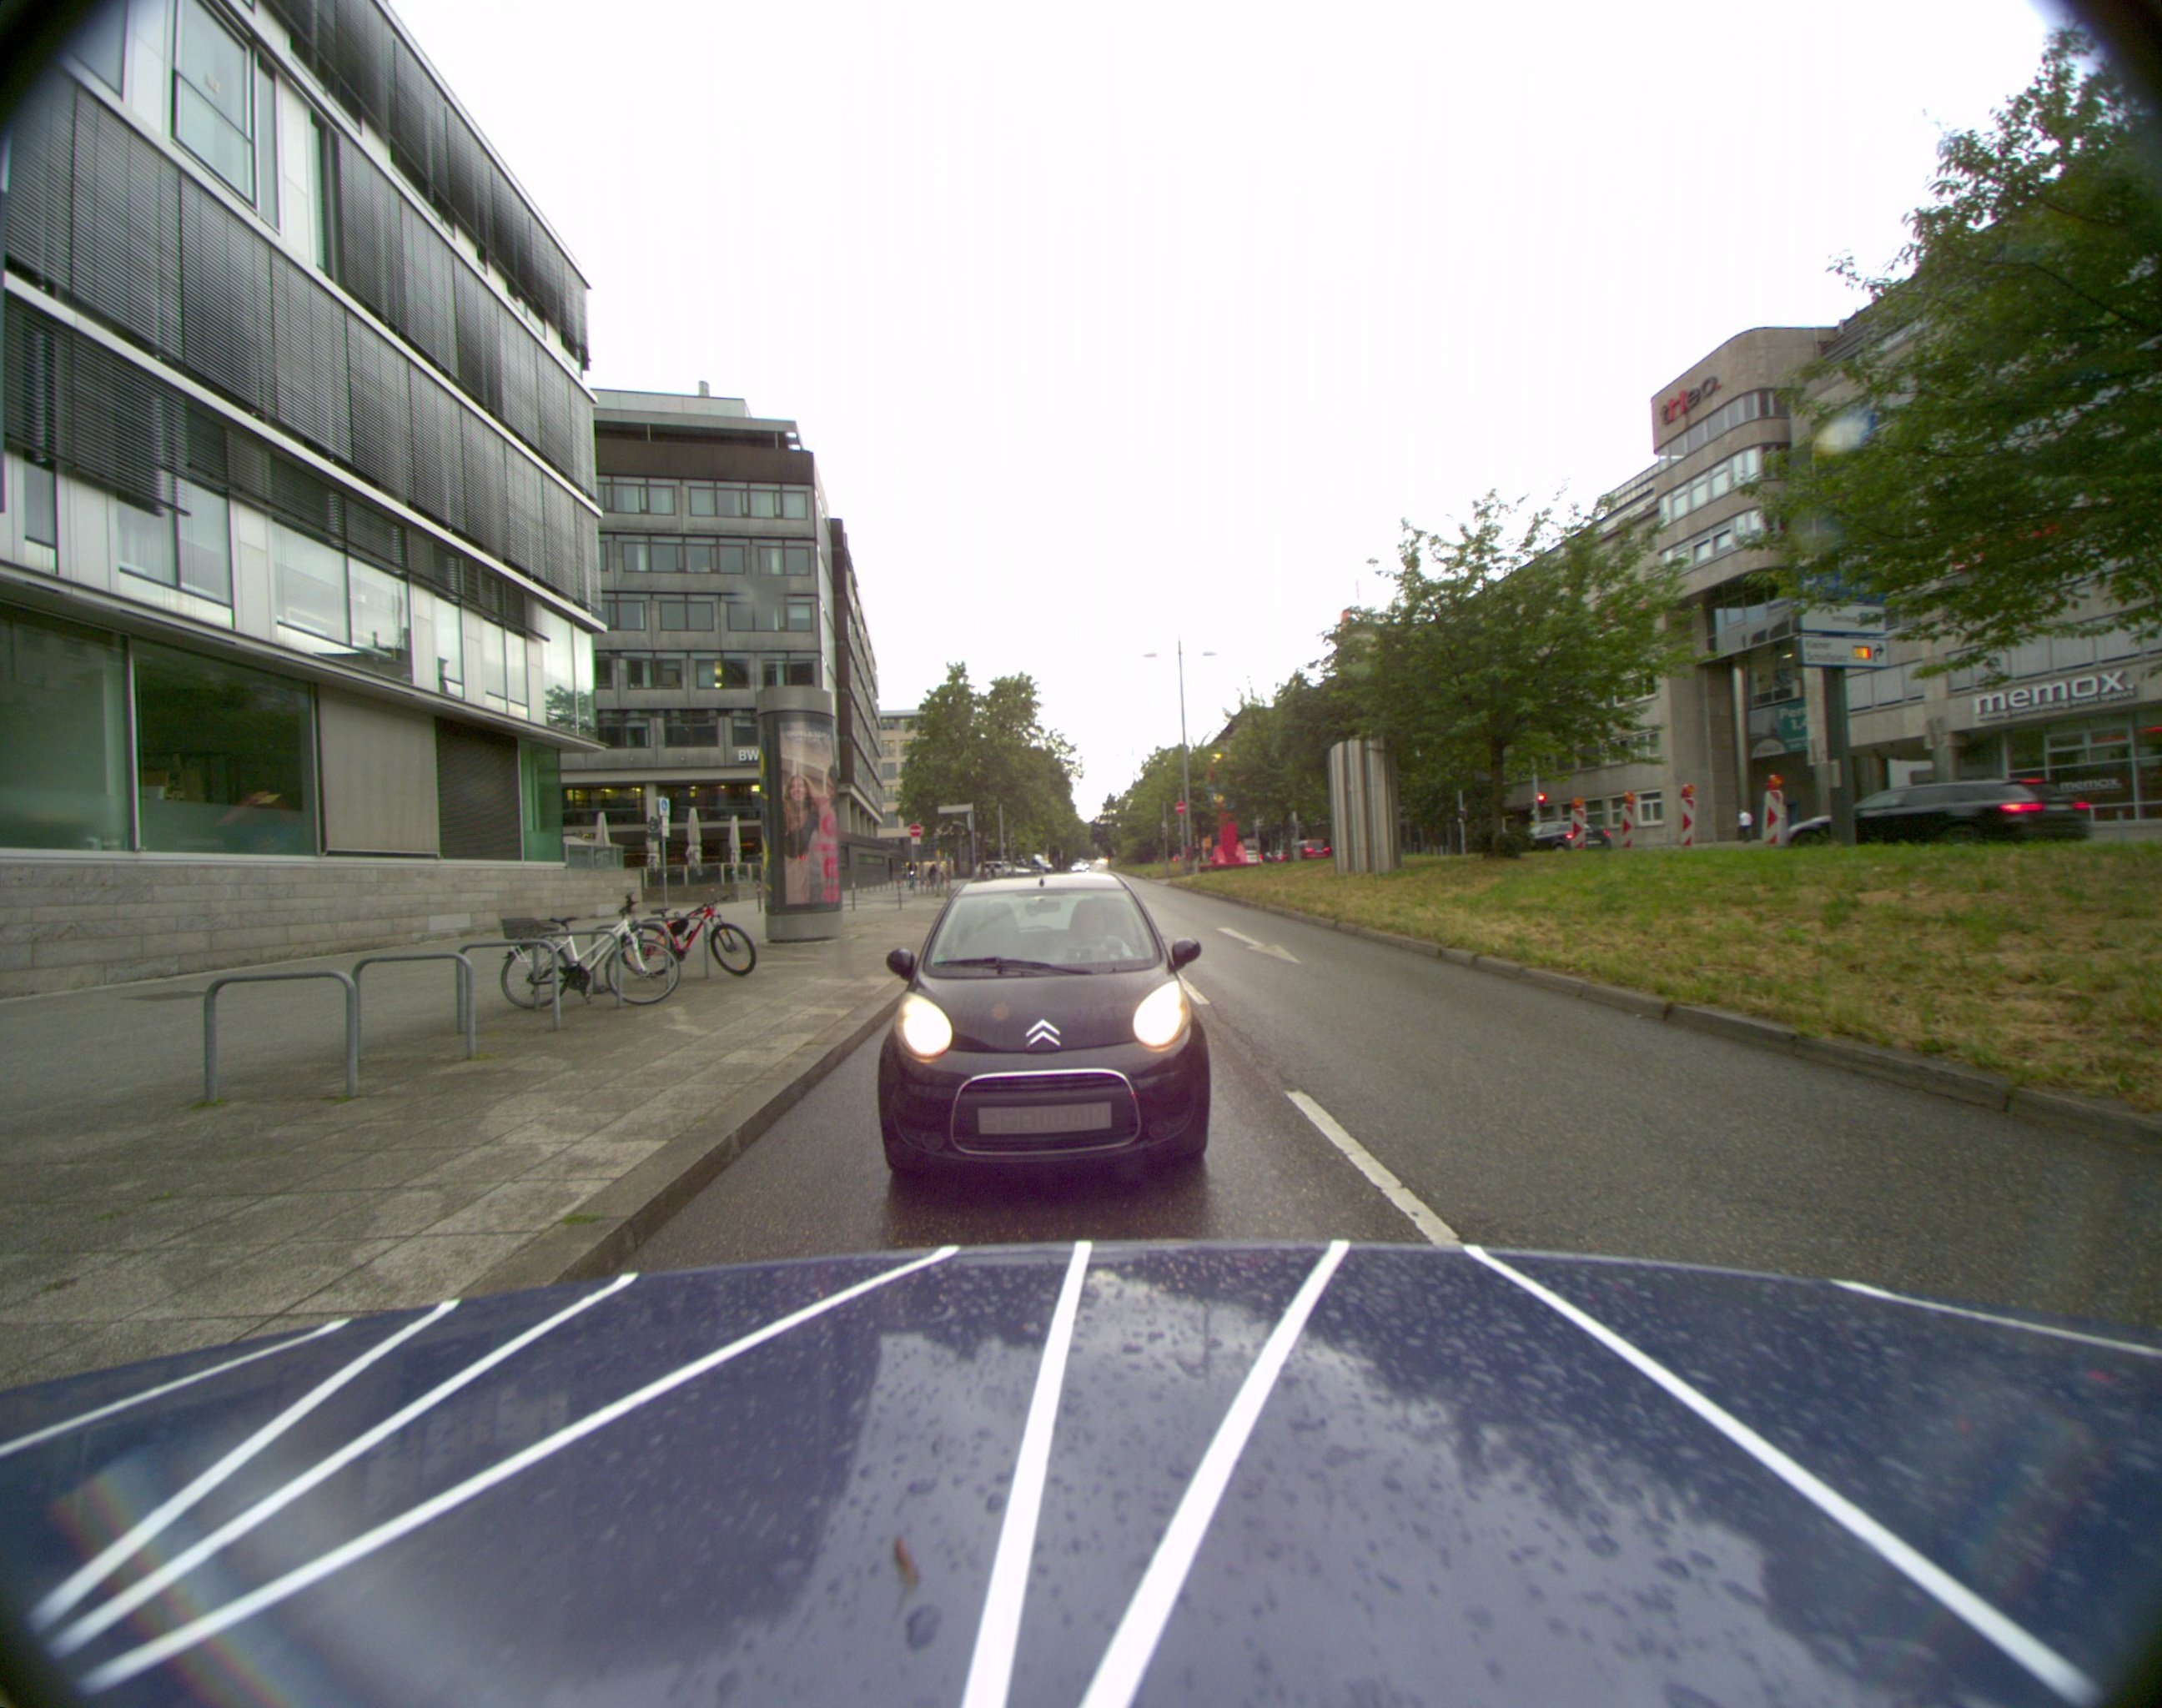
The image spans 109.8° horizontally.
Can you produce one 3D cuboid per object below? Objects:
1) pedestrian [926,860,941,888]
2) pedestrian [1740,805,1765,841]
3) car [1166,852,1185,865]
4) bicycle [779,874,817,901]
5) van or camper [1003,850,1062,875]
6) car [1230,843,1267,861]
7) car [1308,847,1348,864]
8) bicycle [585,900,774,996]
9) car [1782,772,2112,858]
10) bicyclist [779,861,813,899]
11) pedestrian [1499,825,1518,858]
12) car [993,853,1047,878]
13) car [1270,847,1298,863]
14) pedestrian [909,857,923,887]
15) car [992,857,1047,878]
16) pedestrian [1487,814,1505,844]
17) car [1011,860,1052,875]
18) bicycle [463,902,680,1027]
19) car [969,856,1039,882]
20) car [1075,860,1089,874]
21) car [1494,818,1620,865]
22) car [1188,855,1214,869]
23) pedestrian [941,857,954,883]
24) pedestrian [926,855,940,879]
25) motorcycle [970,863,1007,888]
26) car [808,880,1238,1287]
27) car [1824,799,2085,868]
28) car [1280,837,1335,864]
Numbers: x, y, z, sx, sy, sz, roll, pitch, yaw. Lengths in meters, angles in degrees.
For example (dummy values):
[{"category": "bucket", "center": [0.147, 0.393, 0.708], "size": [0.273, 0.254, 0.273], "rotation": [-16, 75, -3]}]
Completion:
[{"category": "pedestrian", "center": [-9.300, 1.263, 47.914], "size": [0.721, 1.675, 0.529], "rotation": [-3, 0, -3]}, {"category": "pedestrian", "center": [33.807, -1.563, 38.269], "size": [0.721, 1.777, 0.529], "rotation": [-3, 0, -2]}, {"category": "car", "center": [13.276, 0.648, 107.038], "size": [1.950, 1.690, 3.999], "rotation": [-3, 0, -2]}, {"category": "bicycle", "center": [-12.791, 1.501, 34.397], "size": [1.011, 1.107, 2.066], "rotation": [-2, 1, -4]}, {"category": "van or camper", "center": [-5.529, 1.006, 86.365], "size": [6.250, 2.432, 2.319], "rotation": [-4, 0, 30]}, {"category": "car", "center": [14.960, -0.185, 68.015], "size": [1.825, 1.466, 4.190], "rotation": [-3, 0, -8]}, {"category": "car", "center": [21.677, 0.145, 66.913], "size": [1.867, 1.421, 4.565], "rotation": [-2, 0, -3]}, {"category": "bicycle", "center": [-5.141, 1.193, 9.812], "size": [1.988, 1.097, 0.808], "rotation": [-2, 0, 4]}, {"category": "car", "center": [18.263, -0.729, 16.410], "size": [1.810, 1.477, 4.380], "rotation": [-5, 0, -9]}, {"category": "bicyclist", "center": [-12.793, 1.158, 34.136], "size": [1.014, 1.573, 1.135], "rotation": [-5, 1, -5]}, {"category": "pedestrian", "center": [23.223, -0.662, 41.256], "size": [0.529, 1.777, 0.721], "rotation": [-3, 0, 1]}, {"category": "car", "center": [-5.543, 1.053, 69.252], "size": [4.507, 1.981, 1.925], "rotation": [-4, 0, 29]}, {"category": "car", "center": [20.563, 0.095, 77.089], "size": [1.690, 1.493, 3.692], "rotation": [-2, 0, -3]}, {"category": "pedestrian", "center": [-10.621, 1.164, 48.928], "size": [0.721, 1.873, 0.656], "rotation": [-3, 0, -6]}, {"category": "car", "center": [-5.379, 1.192, 66.371], "size": [4.381, 1.528, 1.919], "rotation": [-4, 0, 27]}, {"category": "pedestrian", "center": [23.060, -1.379, 42.250], "size": [0.607, 1.619, 0.620], "rotation": [-3, 0, 1]}, {"category": "car", "center": [-5.392, 1.439, 82.699], "size": [4.052, 1.415, 1.711], "rotation": [-4, 0, 29]}, {"category": "bicycle", "center": [-5.302, 1.138, 7.960], "size": [1.840, 1.190, 0.660], "rotation": [-1, 0, 4]}, {"category": "car", "center": [-5.649, 1.097, 55.605], "size": [4.792, 1.640, 1.920], "rotation": [-4, 0, 30]}, {"category": "car", "center": [0.138, 1.899, 111.122], "size": [1.791, 1.736, 4.574], "rotation": [-4, 0, -3]}, {"category": "car", "center": [17.396, -0.442, 28.007], "size": [1.810, 1.477, 3.998], "rotation": [-5, 0, -6]}, {"category": "car", "center": [13.871, 0.892, 87.843], "size": [1.873, 1.466, 3.997], "rotation": [-3, 0, -8]}, {"category": "pedestrian", "center": [-10.479, 1.257, 59.505], "size": [0.852, 2.027, 0.753], "rotation": [-3, 0, -7]}, {"category": "pedestrian", "center": [-11.532, 1.015, 59.198], "size": [0.803, 1.857, 0.898], "rotation": [-3, 0, -3]}, {"category": "motorcycle", "center": [-5.598, 1.299, 46.058], "size": [2.087, 1.349, 0.677], "rotation": [-3, 0, 7]}, {"category": "car", "center": [-0.264, 0.975, 4.936], "size": [1.634, 1.408, 3.834], "rotation": [-3, 0, -1]}, {"category": "car", "center": [24.762, -0.503, 21.888], "size": [1.867, 1.715, 4.791], "rotation": [-2, 0, -3]}, {"category": "car", "center": [15.289, -0.212, 51.540], "size": [1.730, 1.717, 4.579], "rotation": [-3, 0, -8]}]
